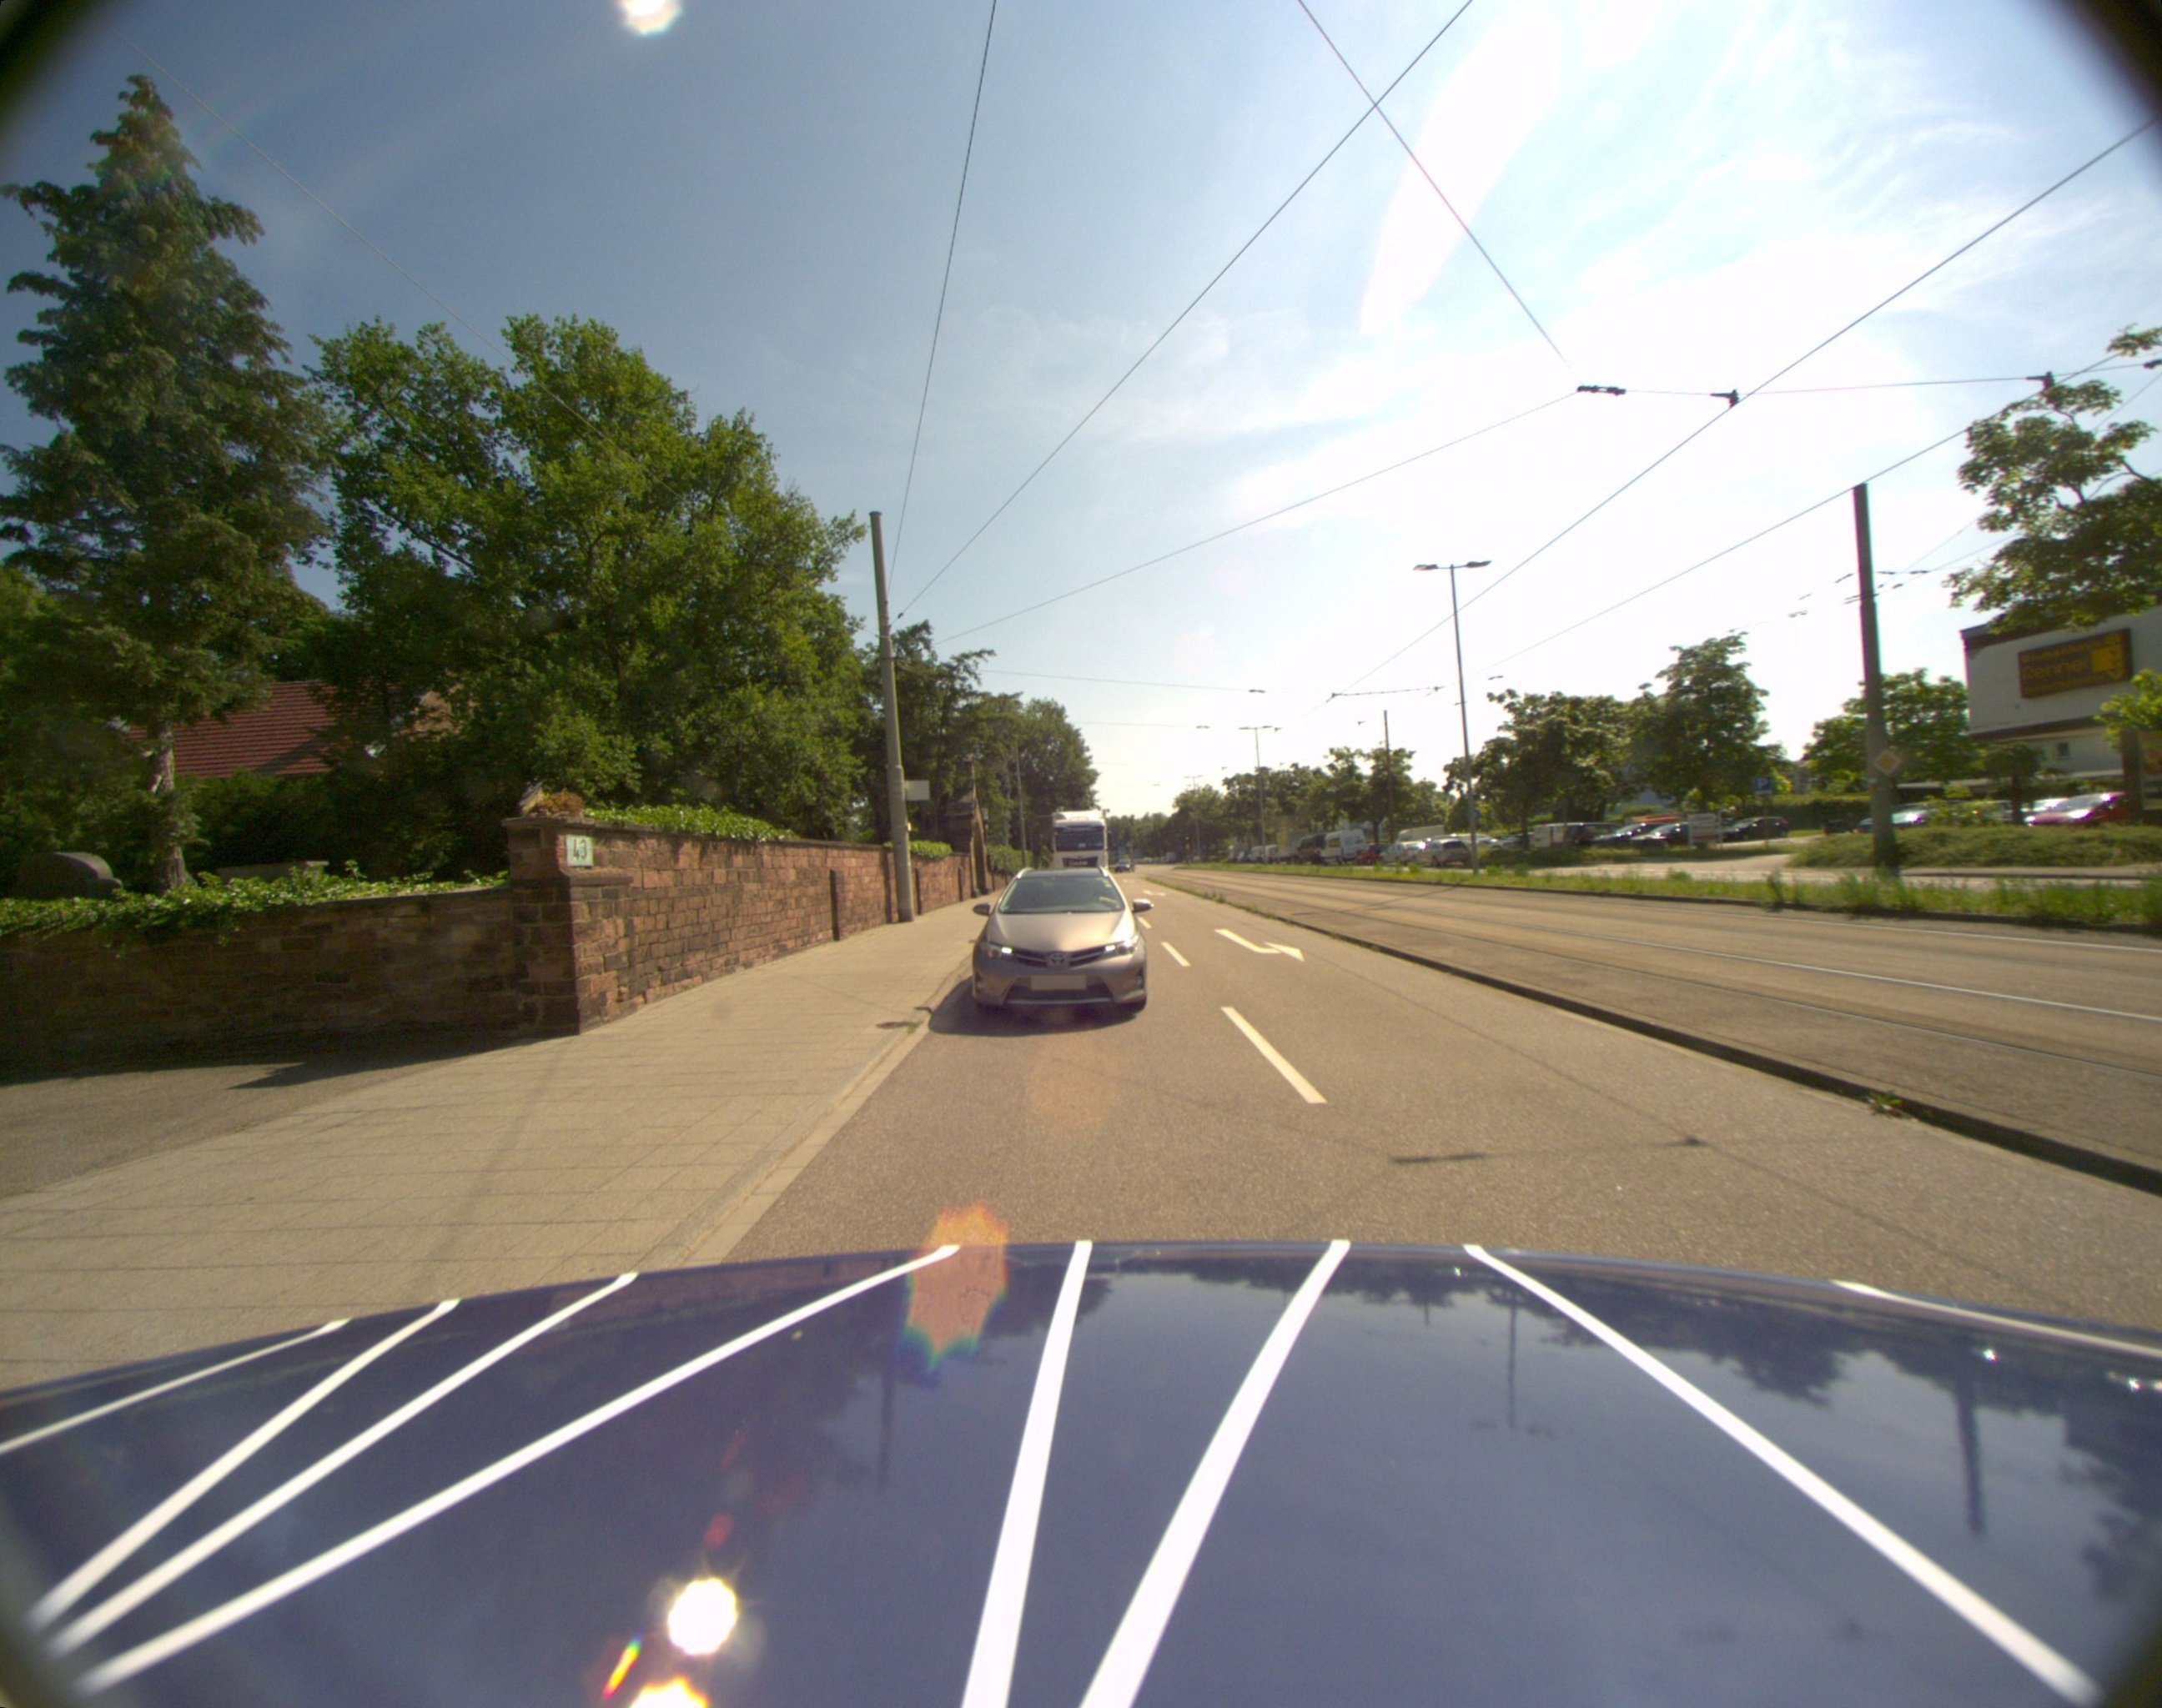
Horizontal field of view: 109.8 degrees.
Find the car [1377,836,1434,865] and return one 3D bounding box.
[{"bbox_3d":[20.450,-0.208,48.094,1.675,1.524,4.257,-7,0,1],"label":"car"}]

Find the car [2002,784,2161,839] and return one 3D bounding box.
[{"bbox_3d":[35.209,-1.485,26.348,4.252,1.595,1.676,-4,0,3],"label":"car"}]

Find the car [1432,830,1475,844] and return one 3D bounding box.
[{"bbox_3d":[43.855,-2.031,89.493,4.253,1.327,1.676,-4,0,2],"label":"car"}]

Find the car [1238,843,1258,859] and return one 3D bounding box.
[{"bbox_3d":[20.767,-0.324,94.645,1.502,1.775,3.687,-7,0,0],"label":"car"}]

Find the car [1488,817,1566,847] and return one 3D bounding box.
[{"bbox_3d":[30.623,-1.482,52.197,4.117,1.727,1.990,-4,0,-2],"label":"car"}]

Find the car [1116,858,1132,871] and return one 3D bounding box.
[{"bbox_3d":[4.876,1.129,86.481,1.654,1.374,4.000,-2,0,1],"label":"car"}]

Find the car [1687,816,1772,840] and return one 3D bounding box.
[{"bbox_3d":[44.264,-1.760,51.899,4.252,1.327,1.676,-4,0,3],"label":"car"}]

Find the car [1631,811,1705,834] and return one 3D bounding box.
[{"bbox_3d":[44.025,-2.364,57.045,4.253,1.327,1.676,-4,0,-1],"label":"car"}]

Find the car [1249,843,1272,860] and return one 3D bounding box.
[{"bbox_3d":[20.904,-0.288,88.566,1.502,1.834,4.059,-7,0,0],"label":"car"}]

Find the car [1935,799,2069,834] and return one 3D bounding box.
[{"bbox_3d":[44.446,-1.809,36.732,4.252,1.327,1.676,-4,0,3],"label":"car"}]

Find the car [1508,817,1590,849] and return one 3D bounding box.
[{"bbox_3d":[30.567,-1.361,49.691,4.117,1.727,1.990,-4,0,-2],"label":"car"}]

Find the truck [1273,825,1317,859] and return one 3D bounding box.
[{"bbox_3d":[20.573,-1.112,73.332,2.508,2.917,5.903,-7,0,2],"label":"truck"}]

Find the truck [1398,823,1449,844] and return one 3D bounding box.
[{"bbox_3d":[44.895,-2.691,99.662,5.652,2.367,1.990,-4,0,-2],"label":"truck"}]

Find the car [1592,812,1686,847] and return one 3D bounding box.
[{"bbox_3d":[30.530,-1.314,41.666,3.810,1.625,1.676,-4,0,3],"label":"car"}]

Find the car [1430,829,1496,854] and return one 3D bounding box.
[{"bbox_3d":[31.234,-0.972,62.428,2.594,1.800,5.741,-4,0,2],"label":"car"}]

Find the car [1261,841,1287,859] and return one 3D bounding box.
[{"bbox_3d":[20.771,-0.394,82.071,1.502,1.793,4.634,-7,0,1],"label":"car"}]

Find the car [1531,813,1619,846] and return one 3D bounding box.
[{"bbox_3d":[30.674,-1.499,47.279,4.117,1.727,1.990,-4,0,-2],"label":"car"}]

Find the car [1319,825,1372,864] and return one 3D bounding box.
[{"bbox_3d":[20.287,-0.703,58.433,2.062,2.638,5.203,-7,0,1],"label":"car"}]

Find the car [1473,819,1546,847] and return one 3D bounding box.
[{"bbox_3d":[31.276,-1.518,55.529,4.117,1.727,1.990,-4,0,-2],"label":"car"}]

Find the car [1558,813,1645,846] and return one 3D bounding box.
[{"bbox_3d":[30.602,-1.436,44.752,3.810,1.625,1.676,-4,0,3],"label":"car"}]

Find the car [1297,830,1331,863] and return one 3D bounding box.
[{"bbox_3d":[19.808,-0.616,64.800,1.502,2.609,4.007,-7,0,1],"label":"car"}]

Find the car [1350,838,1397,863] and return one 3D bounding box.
[{"bbox_3d":[20.411,-0.208,53.176,1.675,1.524,3.793,-7,0,1],"label":"car"}]

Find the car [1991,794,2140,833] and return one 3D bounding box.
[{"bbox_3d":[43.791,-1.784,33.866,4.252,1.327,1.676,-4,0,3],"label":"car"}]

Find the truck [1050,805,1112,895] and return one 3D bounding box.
[{"bbox_3d":[0.114,-0.194,38.642,2.628,3.905,9.286,-2,0,1],"label":"truck"}]

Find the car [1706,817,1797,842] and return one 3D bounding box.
[{"bbox_3d":[43.223,-1.567,49.025,4.252,1.327,1.676,-4,0,3],"label":"car"}]

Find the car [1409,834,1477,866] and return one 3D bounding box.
[{"bbox_3d":[20.328,-0.195,42.846,1.675,1.524,4.257,-7,0,1],"label":"car"}]

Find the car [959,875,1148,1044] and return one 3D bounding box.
[{"bbox_3d":[-0.228,1.008,8.870,1.654,1.374,4.000,-2,0,1],"label":"car"}]

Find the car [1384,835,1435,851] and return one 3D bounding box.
[{"bbox_3d":[32.410,-1.064,74.945,4.253,1.327,1.676,-4,0,2],"label":"car"}]
